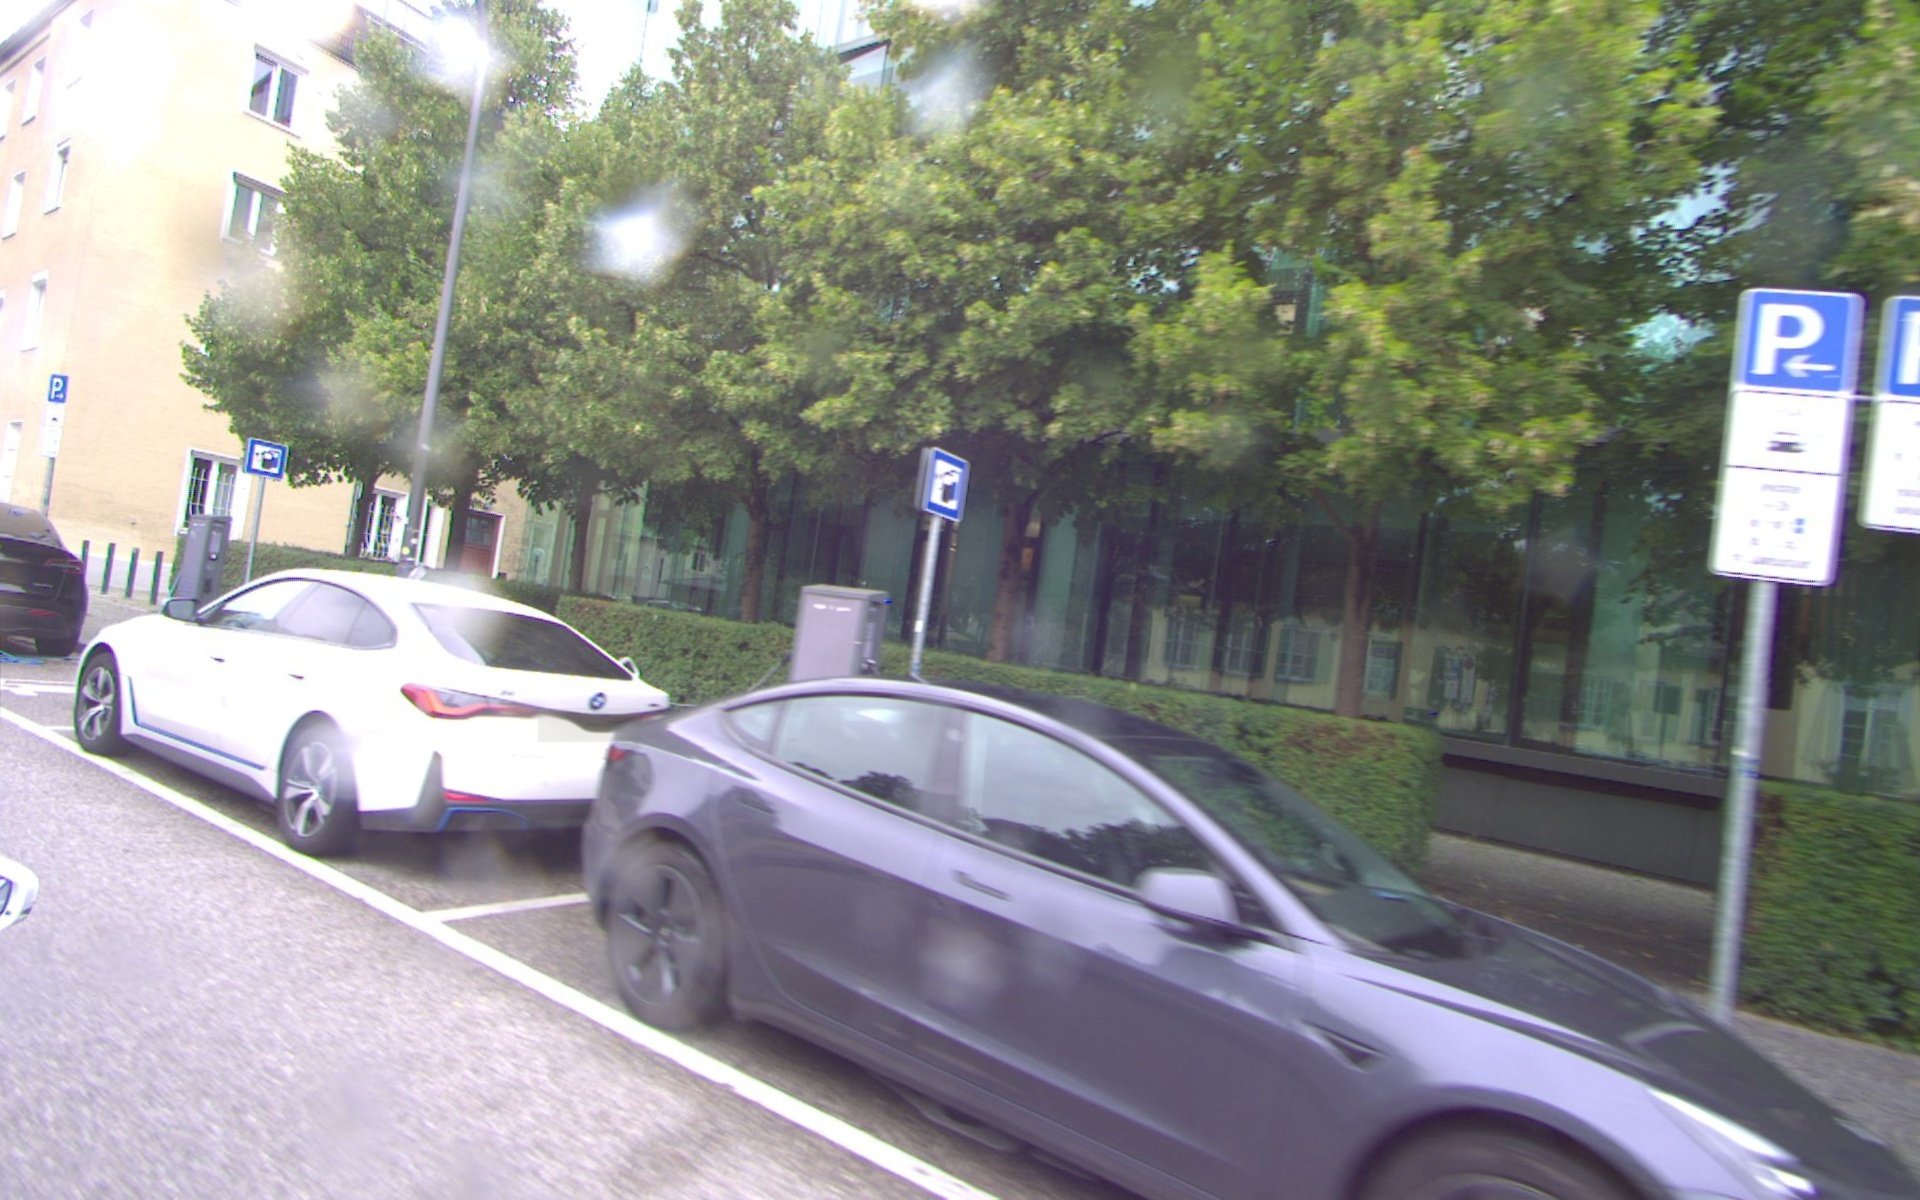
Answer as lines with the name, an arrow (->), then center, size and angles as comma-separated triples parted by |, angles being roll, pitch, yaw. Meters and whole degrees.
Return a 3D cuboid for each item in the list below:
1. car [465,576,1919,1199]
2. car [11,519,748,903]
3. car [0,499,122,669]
car -> 0.507, 1.028, 3.766 | 4.772, 1.568, 1.967 | 6, -4, 34
car -> -3.987, 0.529, 6.663 | 4.875, 1.475, 2.000 | 7, -4, 32
car -> -11.883, -0.428, 11.647 | 5.020, 1.648, 1.997 | 6, -4, 36
